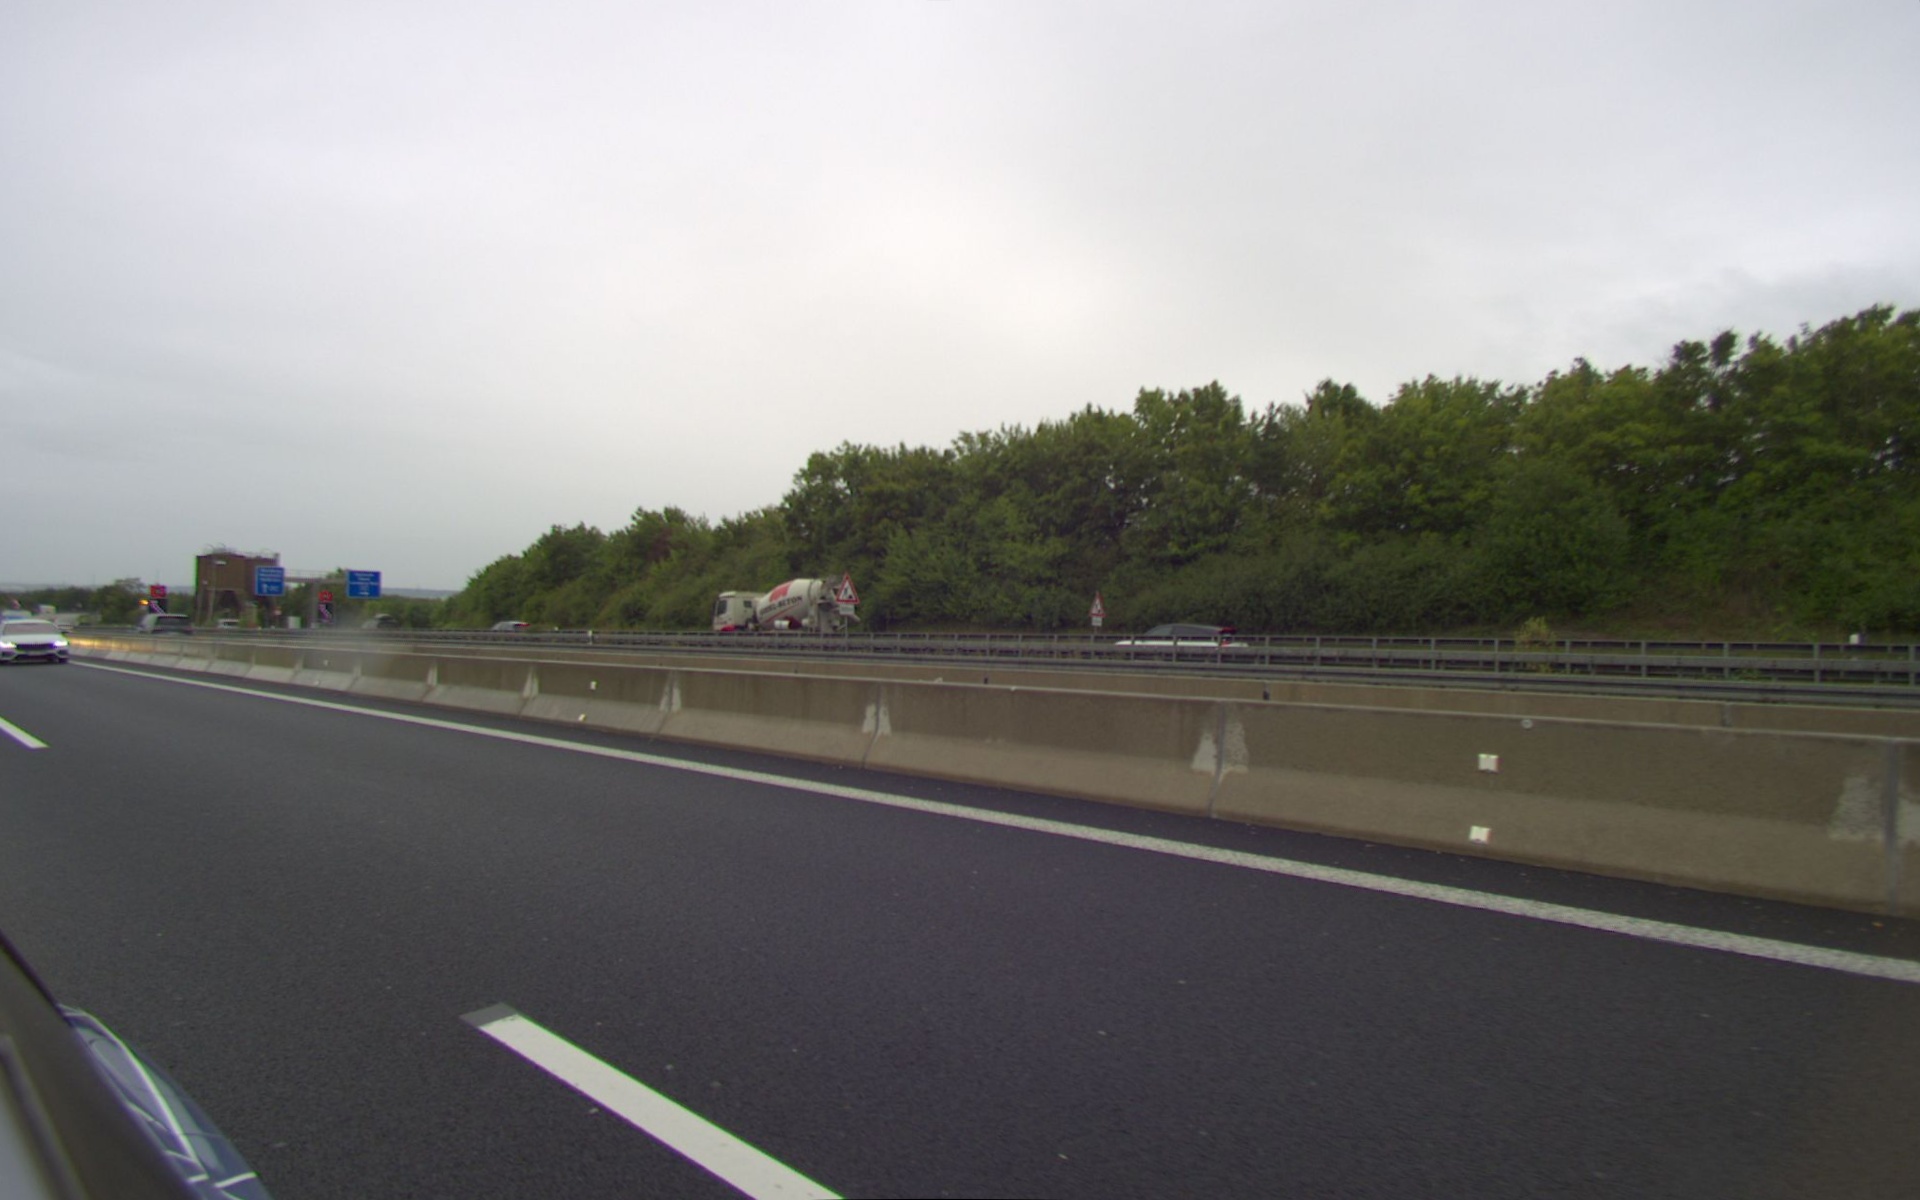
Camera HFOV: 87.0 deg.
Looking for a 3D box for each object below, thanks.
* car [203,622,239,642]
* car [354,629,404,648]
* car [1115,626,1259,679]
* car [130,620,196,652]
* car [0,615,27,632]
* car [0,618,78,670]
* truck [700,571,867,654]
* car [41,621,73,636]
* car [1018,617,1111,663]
[{"bbox_3d":[-77.216,3.332,105.710,4.712,2.029,1.973,-1,-1,41],"label":"car"},{"bbox_3d":[-44.628,2.951,77.660,4.675,1.417,1.972,-1,-2,42],"label":"car"},{"bbox_3d":[6.715,1.514,30.139,3.917,1.436,1.572,-1,-1,42],"label":"car"},{"bbox_3d":[-44.599,2.014,56.598,5.023,1.663,1.973,-1,0,40],"label":"car"},{"bbox_3d":[-95.792,2.371,101.777,5.906,1.706,2.332,-1,-2,43],"label":"car"},{"bbox_3d":[-31.234,1.431,33.795,4.813,1.603,1.973,-2,-1,40],"label":"car"},{"bbox_3d":[-8.815,0.660,49.556,9.552,3.689,2.657,-1,-2,41],"label":"truck"},{"bbox_3d":[-95.612,3.017,107.159,4.677,1.446,1.973,-1,0,41],"label":"car"},{"bbox_3d":[4.773,1.787,46.557,3.999,2.029,1.731,-1,-2,43],"label":"car"}]
